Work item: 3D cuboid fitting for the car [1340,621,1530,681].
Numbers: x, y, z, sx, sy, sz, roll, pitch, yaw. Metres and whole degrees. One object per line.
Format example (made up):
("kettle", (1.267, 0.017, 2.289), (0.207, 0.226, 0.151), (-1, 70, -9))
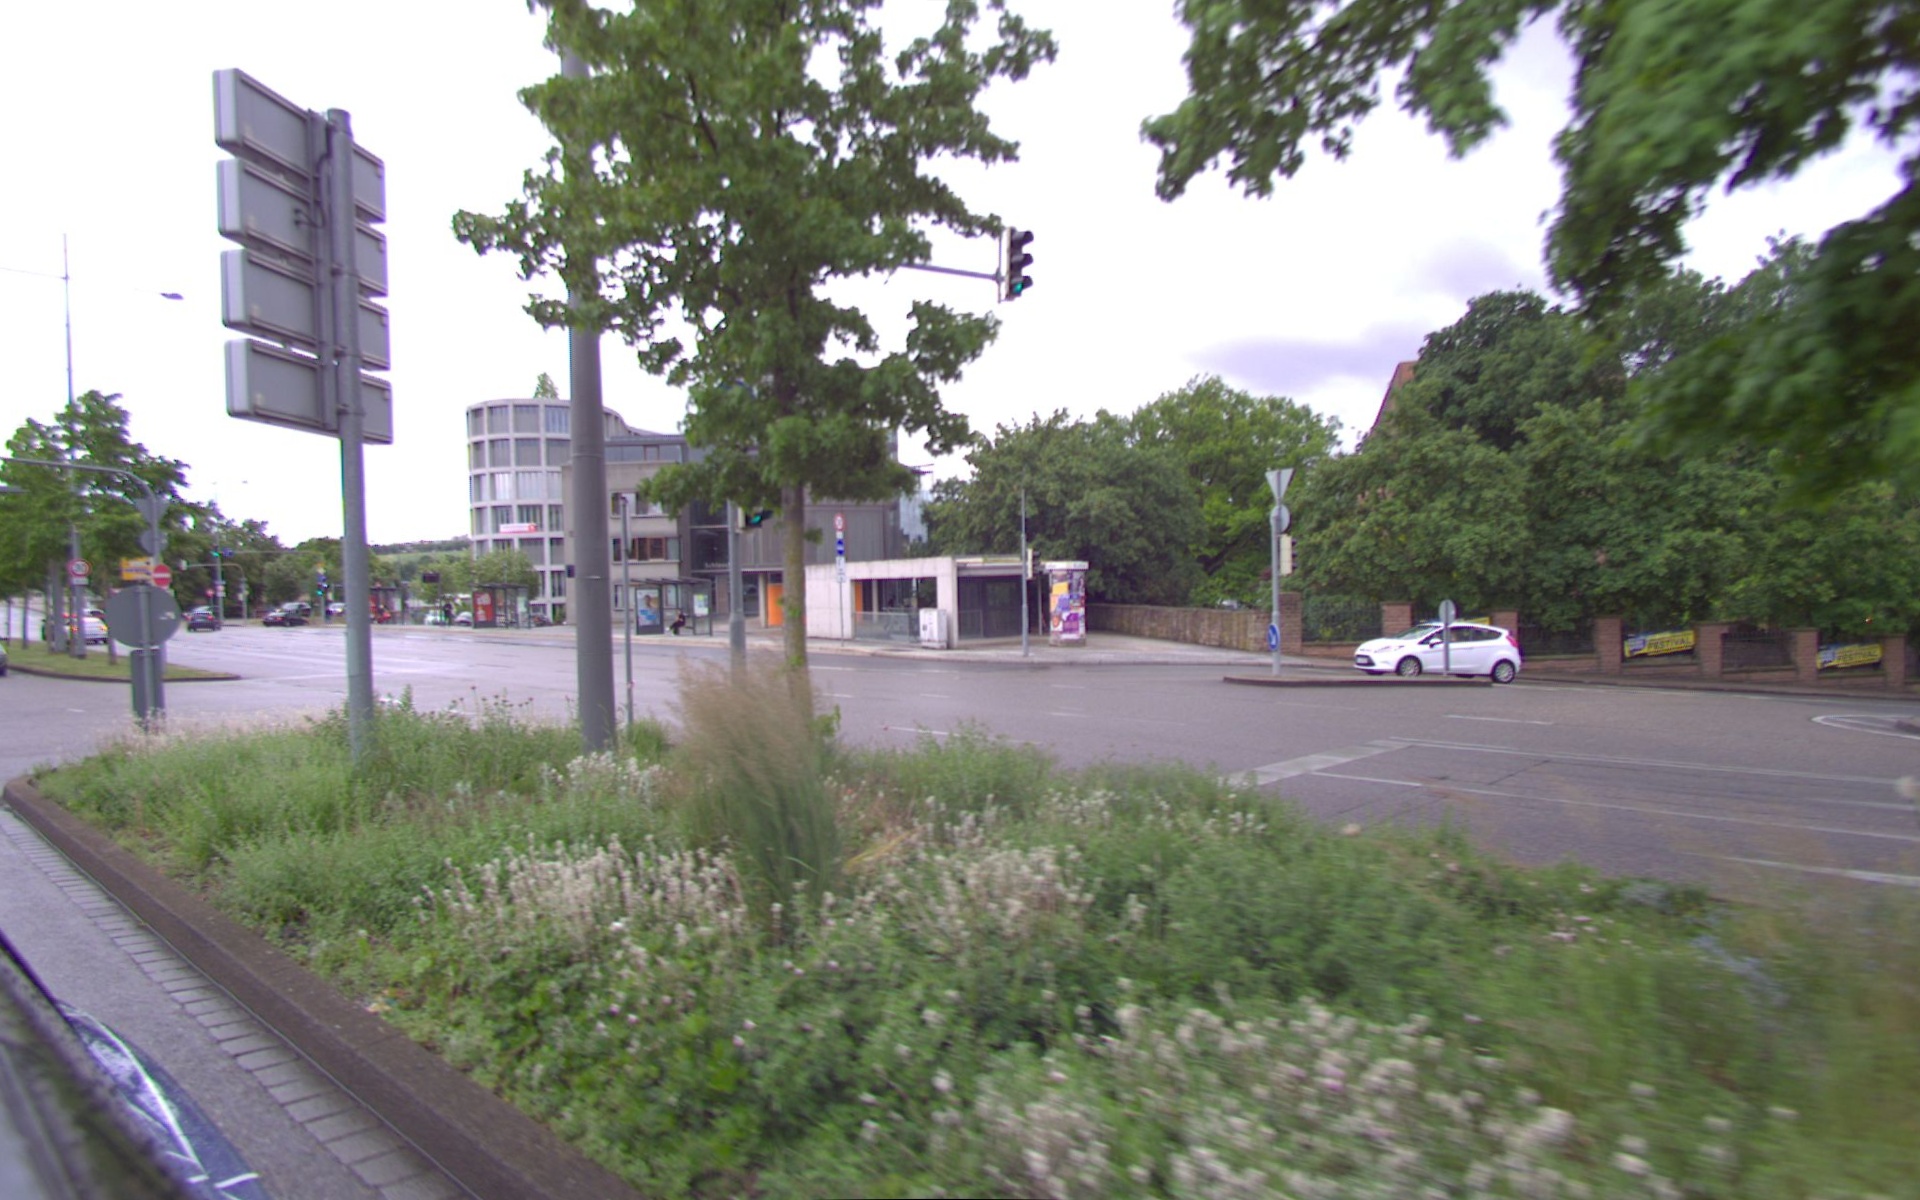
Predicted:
("car", (11.689, 1.244, 25.019), (3.938, 1.409, 1.637), (0, -1, -5))

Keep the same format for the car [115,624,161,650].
("car", (-50.960, 2.287, 62.730), (4.453, 1.477, 1.676), (0, -1, 44))

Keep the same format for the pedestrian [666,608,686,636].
("pedestrian", (-13.419, 1.025, 47.805), (0.659, 1.309, 0.720), (1, -1, -44))

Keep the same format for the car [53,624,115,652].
("car", (-47.624, 2.041, 54.979), (4.163, 1.363, 1.984), (0, -1, 41))

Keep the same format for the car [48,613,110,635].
("car", (-70.902, 1.920, 81.541), (1.847, 1.646, 4.166), (0, -1, -10))

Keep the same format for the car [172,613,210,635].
("car", (-56.649, 1.763, 74.521), (3.864, 1.524, 1.658), (0, -1, 44))

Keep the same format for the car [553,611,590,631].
("car", (-33.601, 1.796, 87.652), (1.848, 1.715, 4.161), (0, -1, -4))

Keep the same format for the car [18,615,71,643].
("car", (-53.489, 1.683, 59.103), (4.165, 1.566, 1.983), (0, -1, 43))

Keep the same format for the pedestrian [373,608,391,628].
("pedestrian", (-42.240, 1.318, 73.952), (0.969, 1.501, 0.735), (1, -1, -39))

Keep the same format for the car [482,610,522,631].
("car", (-39.416, 1.743, 87.249), (1.848, 1.715, 4.161), (0, -1, -4))

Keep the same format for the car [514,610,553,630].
("car", (-36.948, 1.736, 87.738), (1.848, 1.715, 4.161), (0, -1, -4))

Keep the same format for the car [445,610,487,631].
("car", (-42.421, 1.737, 87.011), (1.848, 1.715, 4.161), (0, -1, -4))

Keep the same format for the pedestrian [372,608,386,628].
("pedestrian", (-42.889, 1.324, 74.675), (0.722, 1.501, 0.735), (1, -1, -41))

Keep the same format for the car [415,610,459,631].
("car", (-44.898, 1.722, 86.926), (1.848, 1.715, 4.161), (0, -1, -4))

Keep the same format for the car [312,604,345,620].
("car", (-75.649, 1.433, 121.273), (1.967, 1.896, 4.009), (0, -1, -11))

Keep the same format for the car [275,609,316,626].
("car", (-69.338, 1.840, 105.677), (1.865, 1.726, 4.225), (0, -1, -8))

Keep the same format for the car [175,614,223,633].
("car", (-72.314, 2.183, 96.193), (1.864, 1.726, 4.226), (0, -1, -9))

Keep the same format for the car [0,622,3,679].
("car", (-26.899, 1.305, 26.894), (3.717, 1.477, 1.678), (0, -1, 40))
